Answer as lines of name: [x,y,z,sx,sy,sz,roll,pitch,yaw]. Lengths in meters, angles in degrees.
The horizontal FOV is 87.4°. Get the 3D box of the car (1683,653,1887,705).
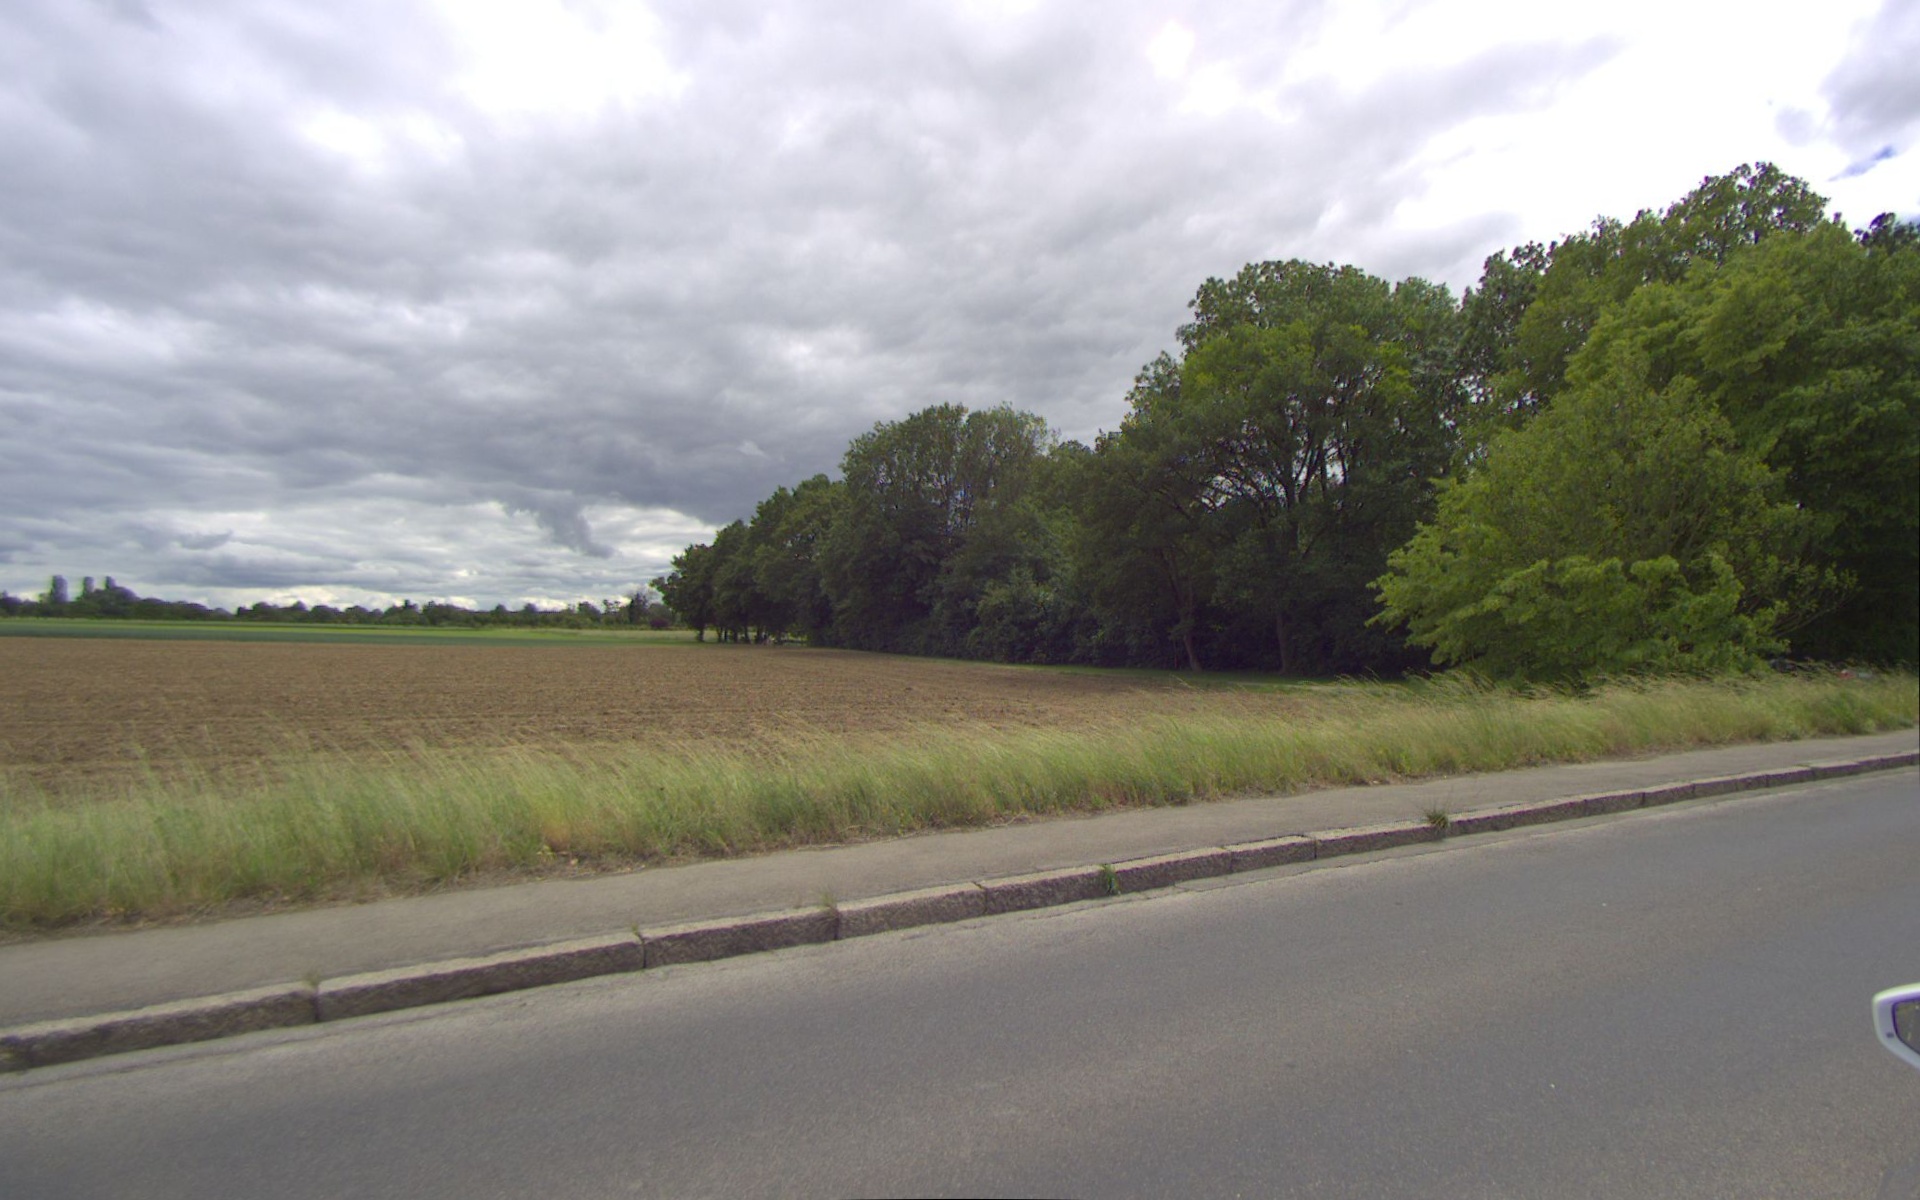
car: [22.533,2.137,27.606,1.723,1.315,3.973,2,-4,-28]

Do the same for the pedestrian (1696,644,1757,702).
pedestrian: [21.009,1.987,27.549,0.930,1.550,1.031,1,-2,-29]
